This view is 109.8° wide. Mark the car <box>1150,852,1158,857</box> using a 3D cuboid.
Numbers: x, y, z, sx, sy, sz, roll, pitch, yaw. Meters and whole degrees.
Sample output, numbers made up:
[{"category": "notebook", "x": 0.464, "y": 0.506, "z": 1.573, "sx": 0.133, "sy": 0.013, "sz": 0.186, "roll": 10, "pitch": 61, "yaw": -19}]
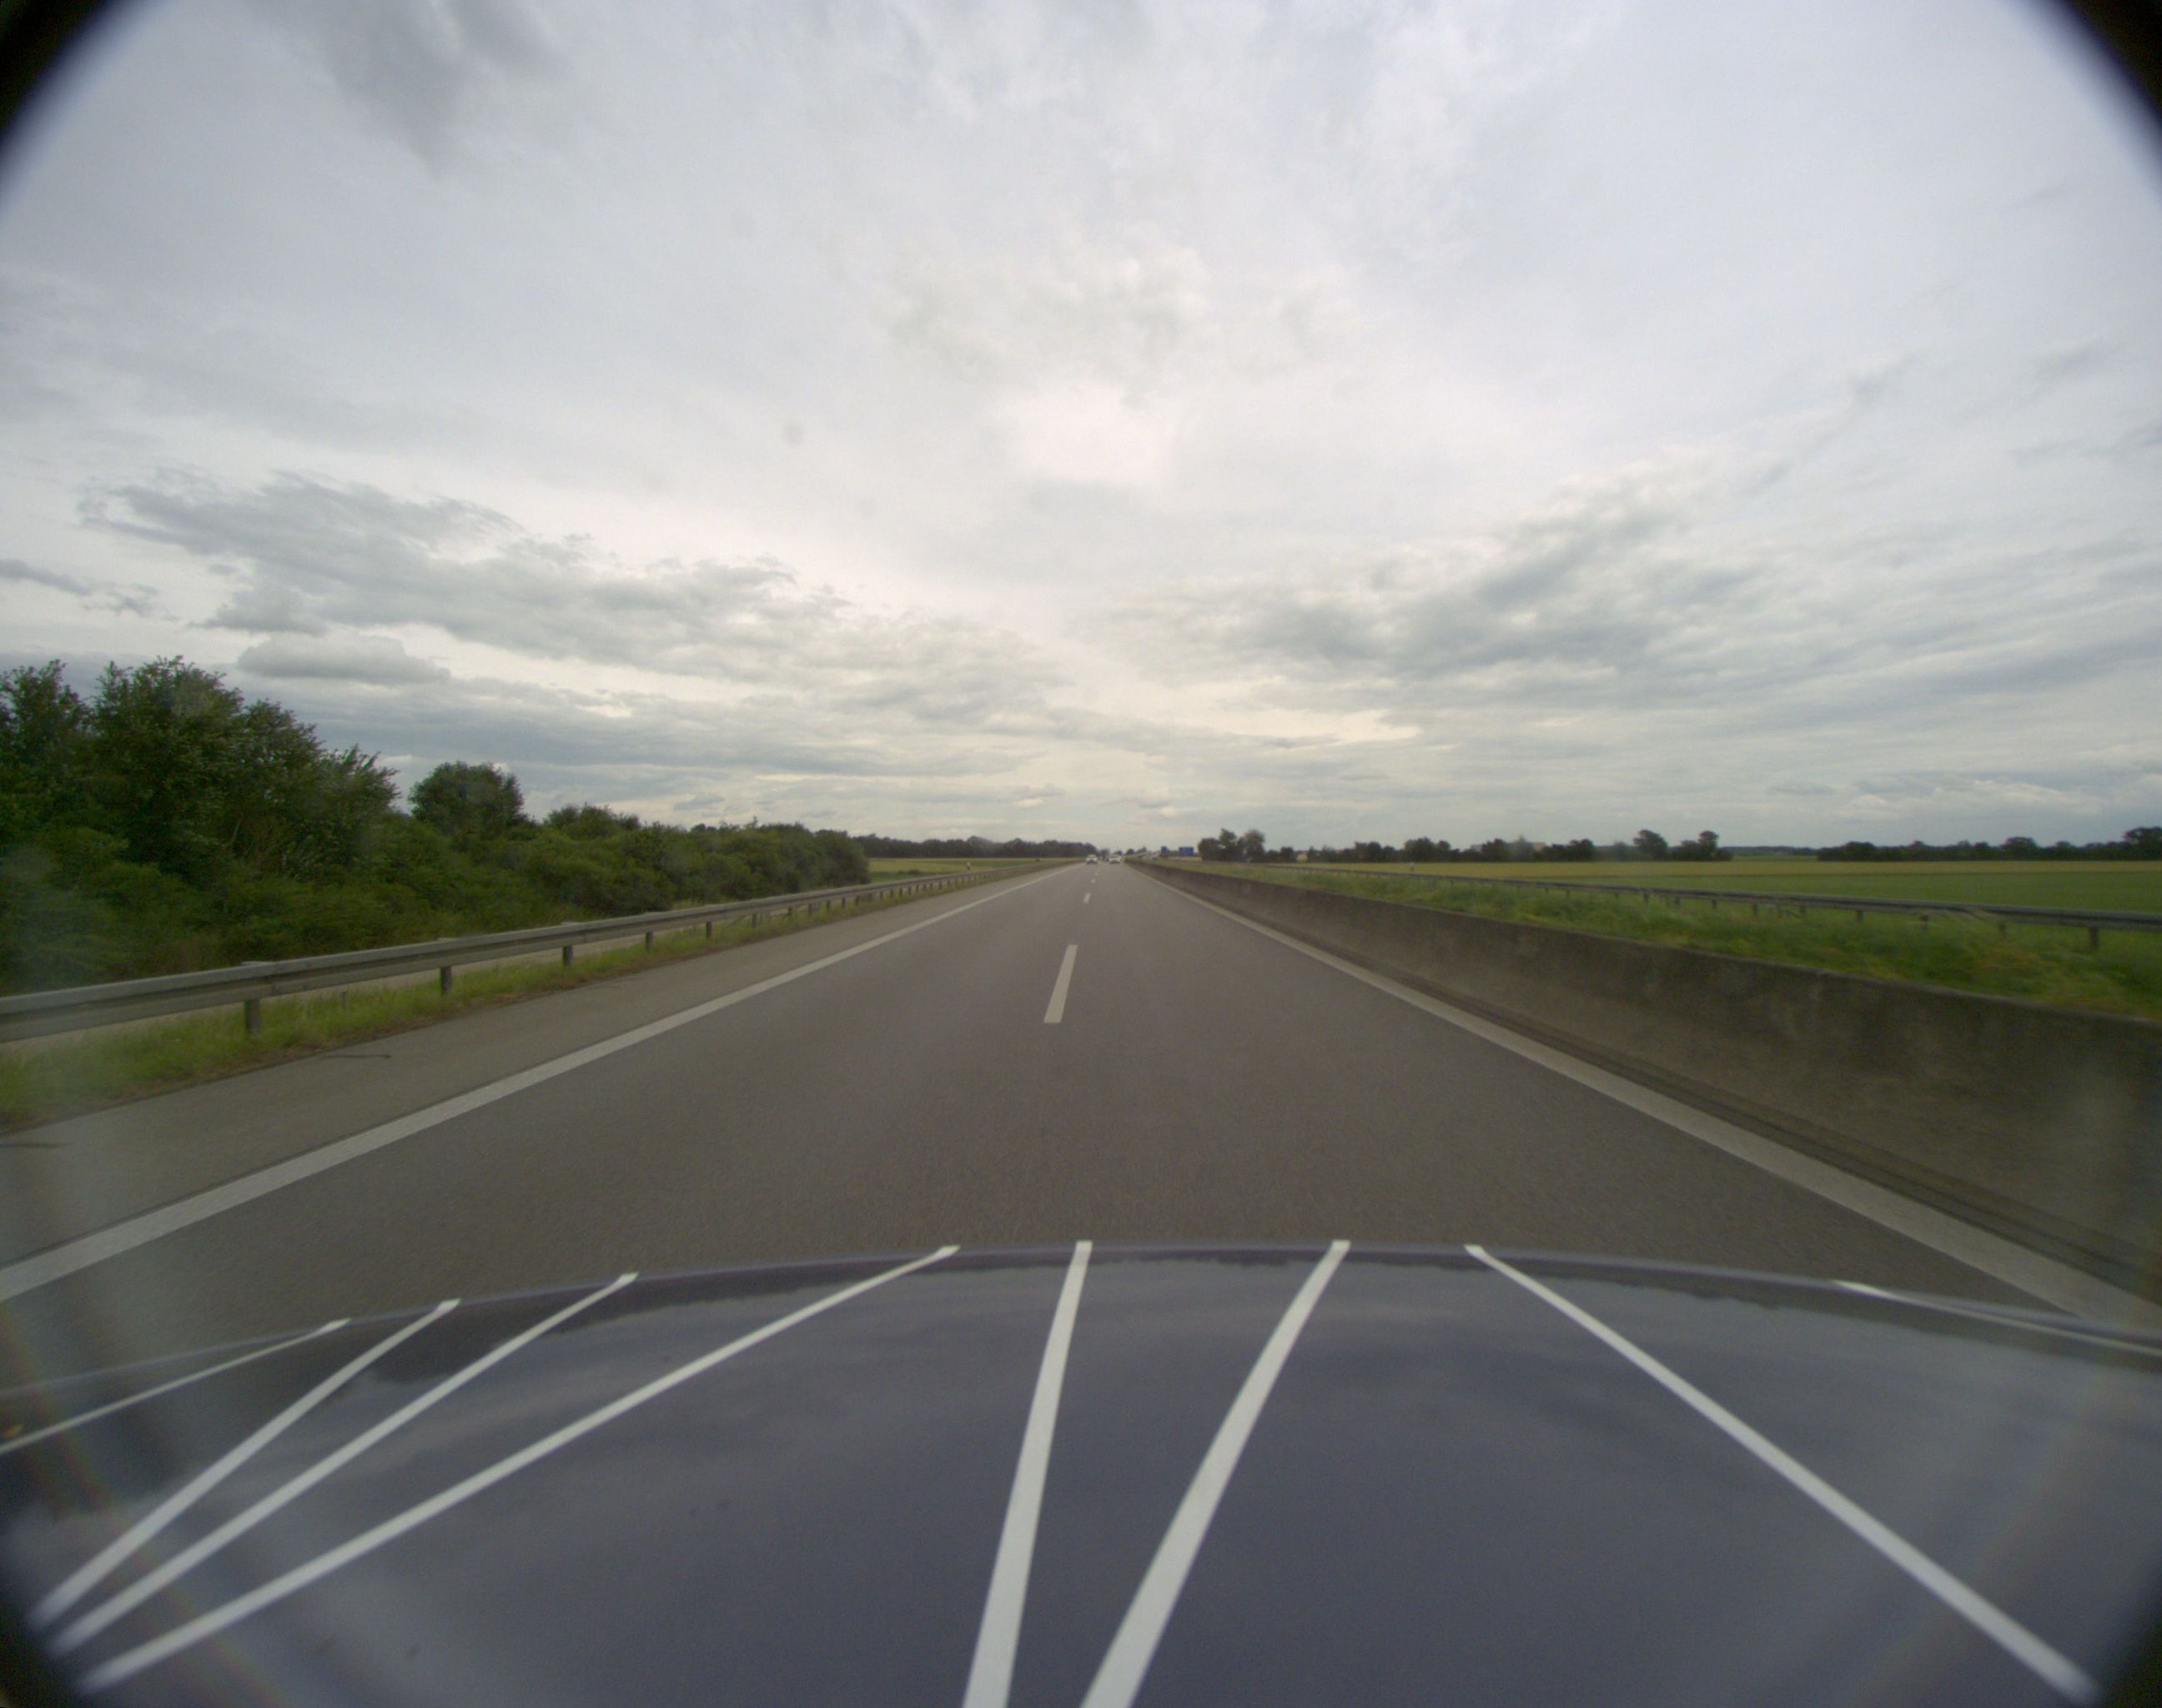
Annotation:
[{"category": "car", "x": 20.514, "y": 0.102, "z": 214.066, "sx": 1.793, "sy": 1.463, "sz": 4.905, "roll": 1, "pitch": 0, "yaw": 1}]

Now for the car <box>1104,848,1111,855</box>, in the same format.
[{"category": "car", "x": 8.228, "y": -0.740, "z": 233.868, "sx": 1.915, "sy": 2.248, "sz": 5.314, "roll": -1, "pitch": 1, "yaw": 4}]

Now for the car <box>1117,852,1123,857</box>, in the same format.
[{"category": "car", "x": 12.454, "y": 0.056, "z": 242.166, "sx": 1.916, "sy": 1.553, "sz": 4.288, "roll": -1, "pitch": 1, "yaw": 1}]

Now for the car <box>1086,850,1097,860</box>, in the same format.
[{"category": "car", "x": 1.807, "y": 0.150, "z": 134.291, "sx": 1.916, "sy": 1.553, "sz": 4.288, "roll": -1, "pitch": 1, "yaw": 1}]

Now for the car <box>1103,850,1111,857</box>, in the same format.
[{"category": "car", "x": 6.295, "y": -0.048, "z": 182.908, "sx": 1.916, "sy": 1.553, "sz": 4.288, "roll": -1, "pitch": 1, "yaw": 1}]

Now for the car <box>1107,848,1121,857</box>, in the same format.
[{"category": "car", "x": 5.872, "y": -0.232, "z": 135.464, "sx": 1.917, "sy": 1.553, "sz": 4.286, "roll": -1, "pitch": 1, "yaw": -4}]
